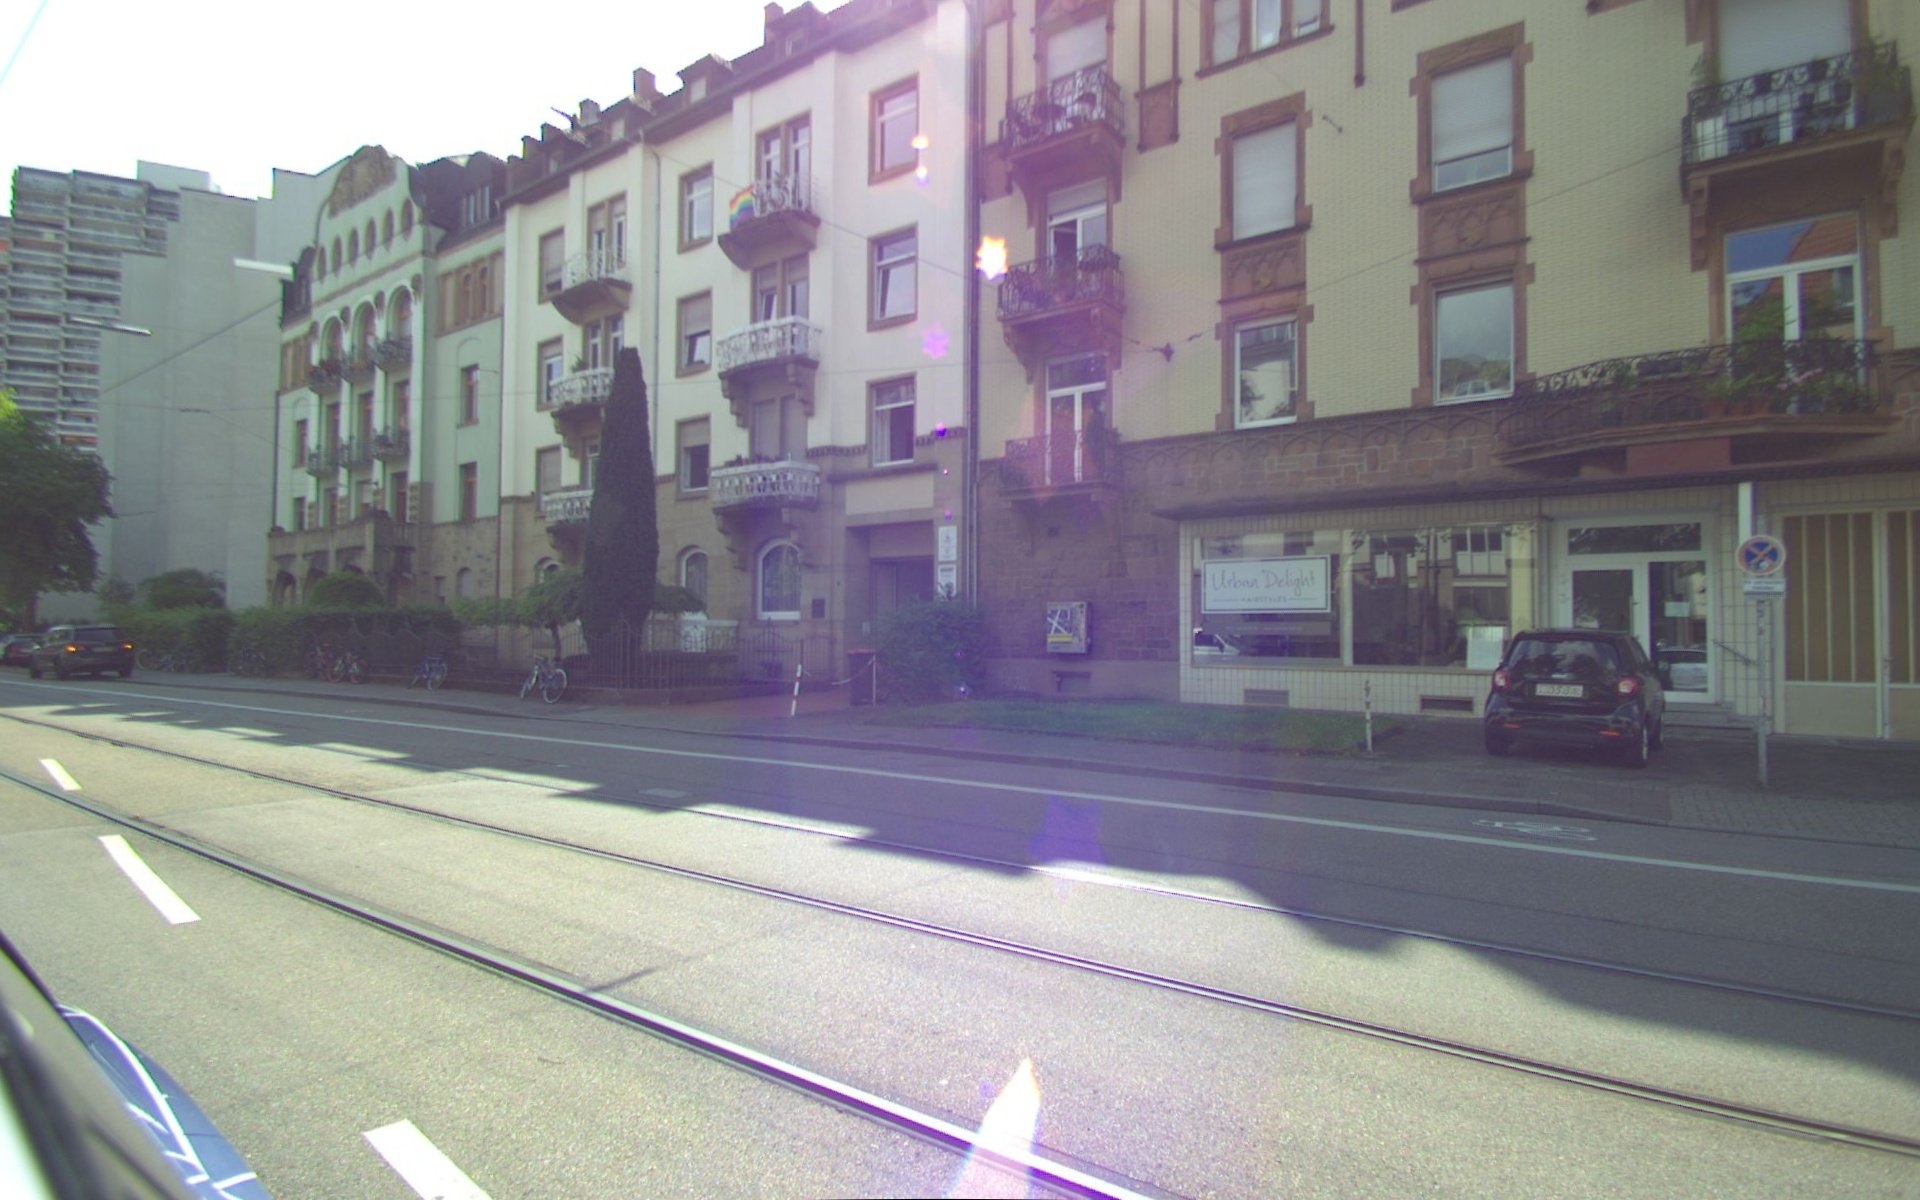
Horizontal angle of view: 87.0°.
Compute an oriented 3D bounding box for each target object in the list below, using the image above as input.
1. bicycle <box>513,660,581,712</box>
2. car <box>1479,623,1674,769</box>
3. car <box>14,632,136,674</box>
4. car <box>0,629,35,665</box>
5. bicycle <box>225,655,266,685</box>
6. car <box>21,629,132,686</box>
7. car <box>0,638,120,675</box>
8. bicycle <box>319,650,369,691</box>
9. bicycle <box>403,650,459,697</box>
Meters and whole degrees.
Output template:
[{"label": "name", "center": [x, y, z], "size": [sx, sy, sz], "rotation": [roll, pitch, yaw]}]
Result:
[{"label": "bicycle", "center": [-8.592, 1.756, 21.003], "size": [2.068, 0.913, 0.517], "rotation": [1, -1, 45]}, {"label": "car", "center": [7.871, 1.085, 12.792], "size": [1.704, 1.497, 3.411], "rotation": [-2, -1, 38]}, {"label": "car", "center": [-37.095, 2.202, 42.476], "size": [1.607, 1.652, 3.587], "rotation": [-1, -3, 37]}, {"label": "car", "center": [-52.313, 2.509, 54.107], "size": [1.829, 1.940, 3.947], "rotation": [-2, -3, 39]}, {"label": "bicycle", "center": [-21.529, 2.101, 30.482], "size": [1.872, 0.803, 0.579], "rotation": [-1, 0, 42]}, {"label": "car", "center": [-28.424, 1.810, 32.524], "size": [4.323, 1.724, 1.775], "rotation": [-2, -3, 36]}, {"label": "car", "center": [-39.399, 2.434, 44.269], "size": [1.632, 1.548, 3.842], "rotation": [-2, -3, 38]}, {"label": "bicycle", "center": [-16.401, 1.865, 26.932], "size": [1.872, 0.993, 0.579], "rotation": [-1, -2, 42]}, {"label": "bicycle", "center": [-12.732, 1.751, 24.333], "size": [1.872, 1.037, 0.532], "rotation": [-1, -2, 42]}]
